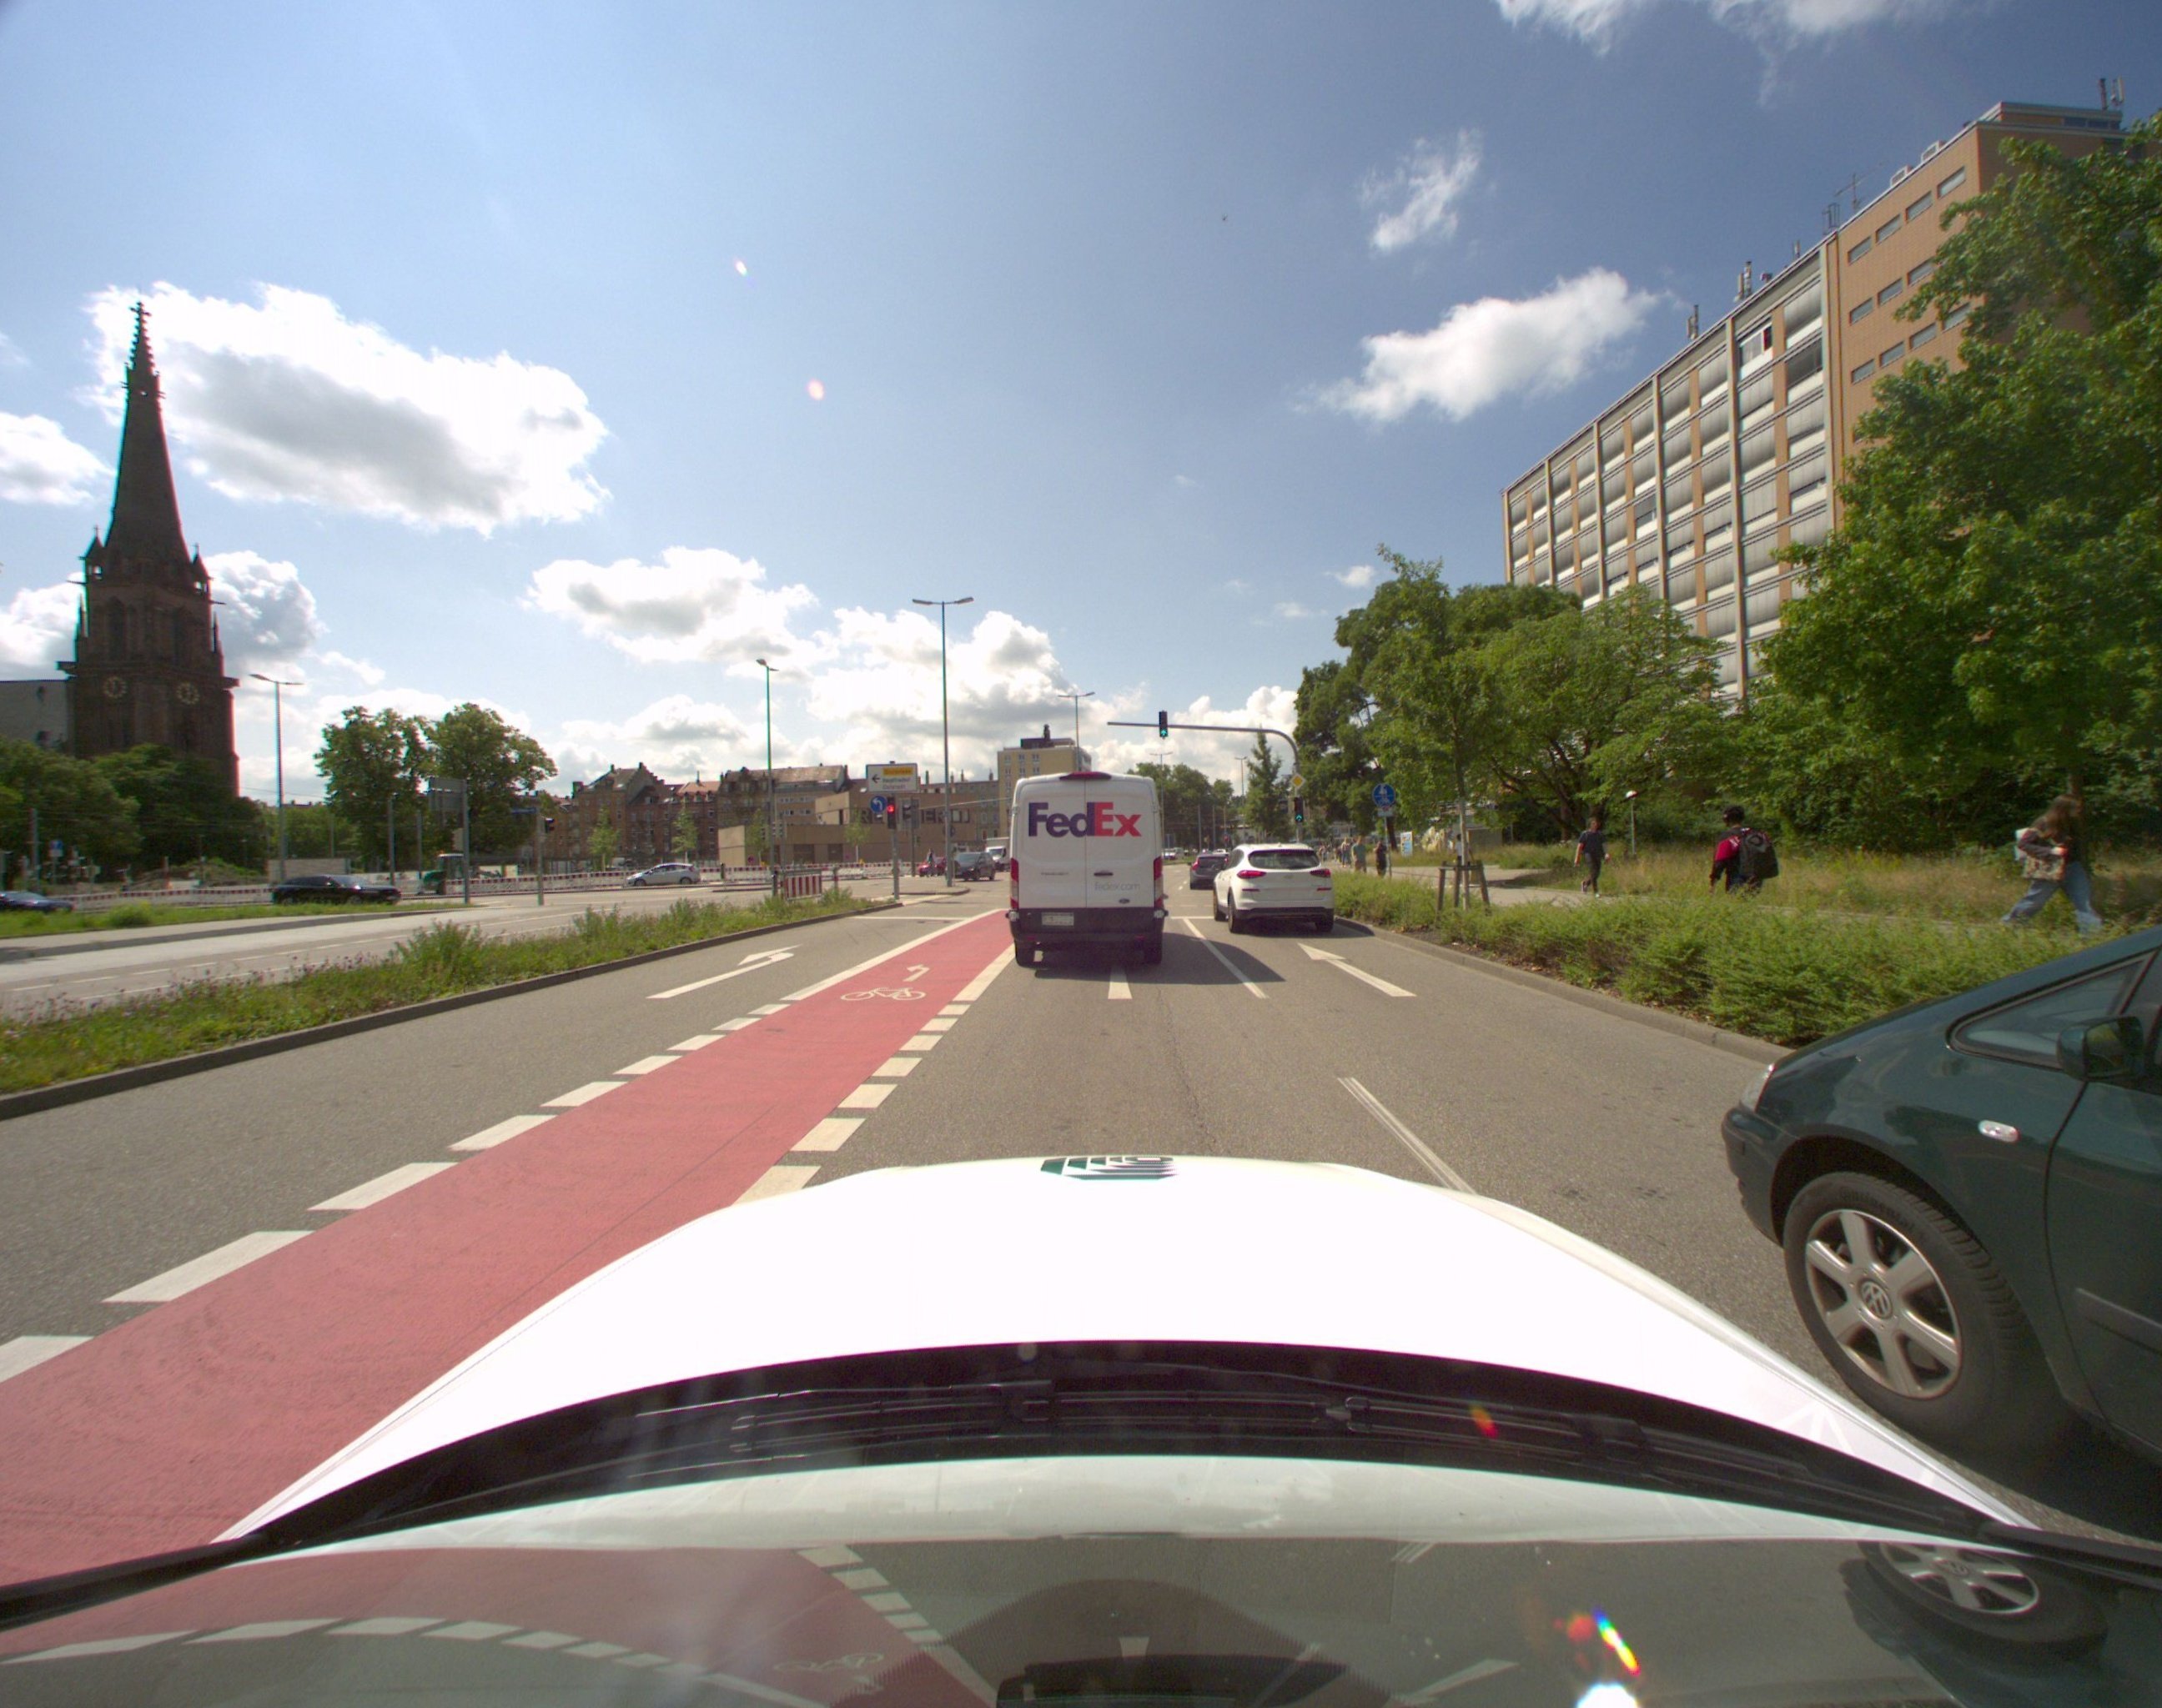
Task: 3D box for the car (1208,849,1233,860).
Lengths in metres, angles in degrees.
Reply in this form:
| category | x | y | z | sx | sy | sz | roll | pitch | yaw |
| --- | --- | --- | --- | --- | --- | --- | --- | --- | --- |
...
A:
| category | x | y | z | sx | sy | sz | roll | pitch | yaw |
| --- | --- | --- | --- | --- | --- | --- | --- | --- | --- |
| car | 24.292 | 0.124 | 141.608 | 4.045 | 1.925 | 1.816 | -1 | -1 | 13 |

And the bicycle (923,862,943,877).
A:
| category | x | y | z | sx | sy | sz | roll | pitch | yaw |
| --- | --- | --- | --- | --- | --- | --- | --- | --- | --- |
| bicycle | -9.838 | 1.007 | 54.243 | 0.772 | 0.889 | 2.111 | -2 | 0 | 4 |

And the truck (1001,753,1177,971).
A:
| category | x | y | z | sx | sy | sz | roll | pitch | yaw |
| --- | --- | --- | --- | --- | --- | --- | --- | --- | --- |
| truck | 0.148 | 0.100 | 12.924 | 2.129 | 2.640 | 5.918 | -1 | 0 | 1 |

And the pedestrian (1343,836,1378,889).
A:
| category | x | y | z | sx | sy | sz | roll | pitch | yaw |
| --- | --- | --- | --- | --- | --- | --- | --- | --- | --- |
| pedestrian | 9.640 | 0.291 | 28.085 | 0.748 | 1.777 | 0.880 | -3 | 0 | -5 |

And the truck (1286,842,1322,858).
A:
| category | x | y | z | sx | sy | sz | roll | pitch | yaw |
| --- | --- | --- | --- | --- | --- | --- | --- | --- | --- |
| truck | 44.283 | -0.795 | 161.601 | 2.858 | 2.852 | 8.846 | -2 | 0 | 43 |

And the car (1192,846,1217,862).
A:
| category | x | y | z | sx | sy | sz | roll | pitch | yaw |
| --- | --- | --- | --- | --- | --- | --- | --- | --- | --- |
| car | 12.429 | -0.034 | 82.064 | 1.866 | 1.506 | 4.174 | -1 | 0 | 17 |

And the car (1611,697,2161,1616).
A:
| category | x | y | z | sx | sy | sz | roll | pitch | yaw |
| --- | --- | --- | --- | --- | --- | --- | --- | --- | --- |
| car | 2.906 | 0.572 | 0.944 | 1.788 | 1.723 | 4.449 | 0 | 0 | 1 |

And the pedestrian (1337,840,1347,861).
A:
| category | x | y | z | sx | sy | sz | roll | pitch | yaw |
| --- | --- | --- | --- | --- | --- | --- | --- | --- | --- |
| pedestrian | 22.624 | -0.312 | 70.637 | 0.751 | 1.821 | 0.676 | -1 | -1 | 10 |

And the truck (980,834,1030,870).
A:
| category | x | y | z | sx | sy | sz | roll | pitch | yaw |
| --- | --- | --- | --- | --- | --- | --- | --- | --- | --- |
| truck | -6.754 | -0.113 | 73.533 | 1.978 | 3.067 | 7.360 | -1 | -1 | 16 |

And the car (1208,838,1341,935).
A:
| category | x | y | z | sx | sy | sz | roll | pitch | yaw |
| --- | --- | --- | --- | --- | --- | --- | --- | --- | --- |
| car | 3.690 | 0.549 | 16.303 | 1.873 | 1.641 | 4.237 | -2 | 0 | 4 |

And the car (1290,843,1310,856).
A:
| category | x | y | z | sx | sy | sz | roll | pitch | yaw |
| --- | --- | --- | --- | --- | --- | --- | --- | --- | --- |
| car | 30.142 | -0.678 | 111.927 | 1.864 | 1.641 | 3.980 | -2 | 0 | 26 |

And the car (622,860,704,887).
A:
| category | x | y | z | sx | sy | sz | roll | pitch | yaw |
| --- | --- | --- | --- | --- | --- | --- | --- | --- | --- |
| car | -25.157 | 1.161 | 49.127 | 4.010 | 1.508 | 1.990 | 0 | -1 | -14 |

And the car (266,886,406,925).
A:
| category | x | y | z | sx | sy | sz | roll | pitch | yaw |
| --- | --- | --- | --- | --- | --- | --- | --- | --- | --- |
| car | -34.144 | 2.341 | 37.409 | 4.481 | 1.486 | 2.000 | -2 | 0 | 0 |

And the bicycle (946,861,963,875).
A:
| category | x | y | z | sx | sy | sz | roll | pitch | yaw |
| --- | --- | --- | --- | --- | --- | --- | --- | --- | --- |
| bicycle | -9.047 | 1.009 | 58.276 | 0.563 | 0.889 | 1.749 | -2 | 0 | 12 |

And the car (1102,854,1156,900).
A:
| category | x | y | z | sx | sy | sz | roll | pitch | yaw |
| --- | --- | --- | --- | --- | --- | --- | --- | --- | --- |
| car | 1.729 | 0.754 | 28.667 | 1.733 | 1.391 | 4.185 | -2 | 0 | 4 |

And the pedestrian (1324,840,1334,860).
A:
| category | x | y | z | sx | sy | sz | roll | pitch | yaw |
| --- | --- | --- | --- | --- | --- | --- | --- | --- | --- |
| pedestrian | 23.211 | -0.369 | 76.287 | 0.751 | 1.821 | 0.640 | -1 | -1 | 9 |

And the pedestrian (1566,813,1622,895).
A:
| category | x | y | z | sx | sy | sz | roll | pitch | yaw |
| --- | --- | --- | --- | --- | --- | --- | --- | --- | --- |
| pedestrian | 11.354 | 0.000 | 18.038 | 0.747 | 1.750 | 0.667 | -3 | 0 | 0 |

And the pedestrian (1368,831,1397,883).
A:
| category | x | y | z | sx | sy | sz | roll | pitch | yaw |
| --- | --- | --- | --- | --- | --- | --- | --- | --- | --- |
| pedestrian | 10.431 | 0.111 | 28.162 | 0.665 | 1.746 | 0.608 | -3 | 0 | -5 |

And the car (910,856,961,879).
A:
| category | x | y | z | sx | sy | sz | roll | pitch | yaw |
| --- | --- | --- | --- | --- | --- | --- | --- | --- | --- |
| car | -10.743 | 0.963 | 60.406 | 1.977 | 1.486 | 3.925 | -2 | 0 | 20 |

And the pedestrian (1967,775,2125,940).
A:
| category | x | y | z | sx | sy | sz | roll | pitch | yaw |
| --- | --- | --- | --- | --- | --- | --- | --- | --- | --- |
| pedestrian | 10.893 | 0.035 | 9.228 | 0.664 | 1.750 | 0.878 | -3 | 0 | 1 |

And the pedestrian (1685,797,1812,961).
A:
| category | x | y | z | sx | sy | sz | roll | pitch | yaw |
| --- | --- | --- | --- | --- | --- | --- | --- | --- | --- |
| pedestrian | 7.551 | 0.268 | 9.258 | 0.664 | 1.750 | 0.848 | -3 | 0 | 1 |

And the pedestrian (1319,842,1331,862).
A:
| category | x | y | z | sx | sy | sz | roll | pitch | yaw |
| --- | --- | --- | --- | --- | --- | --- | --- | --- | --- |
| pedestrian | 22.214 | -0.178 | 74.251 | 0.753 | 1.821 | 0.781 | -5 | -1 | 3 |

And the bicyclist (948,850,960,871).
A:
| category | x | y | z | sx | sy | sz | roll | pitch | yaw |
| --- | --- | --- | --- | --- | --- | --- | --- | --- | --- |
| bicyclist | -9.078 | 0.448 | 58.228 | 0.561 | 1.461 | 0.840 | -2 | 0 | 12 |

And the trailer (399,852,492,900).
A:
| category | x | y | z | sx | sy | sz | roll | pitch | yaw |
| --- | --- | --- | --- | --- | --- | --- | --- | --- | --- |
| trailer | -40.905 | 1.363 | 52.499 | 1.974 | 2.914 | 4.394 | -1 | -1 | 37 |

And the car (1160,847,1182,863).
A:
| category | x | y | z | sx | sy | sz | roll | pitch | yaw |
| --- | --- | --- | --- | --- | --- | --- | --- | --- | --- |
| car | 11.640 | 0.114 | 105.020 | 1.977 | 2.014 | 4.142 | -1 | -1 | 19 |

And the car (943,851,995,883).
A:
| category | x | y | z | sx | sy | sz | roll | pitch | yaw |
| --- | --- | --- | --- | --- | --- | --- | --- | --- | --- |
| car | -6.180 | 0.686 | 45.277 | 1.871 | 1.623 | 4.162 | -1 | 0 | 6 |

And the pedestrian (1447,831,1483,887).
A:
| category | x | y | z | sx | sy | sz | roll | pitch | yaw |
| --- | --- | --- | --- | --- | --- | --- | --- | --- | --- |
| pedestrian | 11.384 | 0.151 | 24.148 | 0.664 | 1.596 | 0.648 | -3 | 0 | 0 |

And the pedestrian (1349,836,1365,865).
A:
| category | x | y | z | sx | sy | sz | roll | pitch | yaw |
| --- | --- | --- | --- | --- | --- | --- | --- | --- | --- |
| pedestrian | 16.733 | -0.210 | 49.329 | 0.745 | 1.752 | 0.611 | -3 | 0 | 7 |

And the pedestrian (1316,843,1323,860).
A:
| category | x | y | z | sx | sy | sz | roll | pitch | yaw |
| --- | --- | --- | --- | --- | --- | --- | --- | --- | --- |
| pedestrian | 22.406 | -0.209 | 76.505 | 0.584 | 1.626 | 0.729 | -1 | -1 | 9 |

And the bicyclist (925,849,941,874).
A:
| category | x | y | z | sx | sy | sz | roll | pitch | yaw |
| --- | --- | --- | --- | --- | --- | --- | --- | --- | --- |
| bicyclist | -9.861 | 0.514 | 54.186 | 0.772 | 1.618 | 0.844 | -2 | 0 | 4 |

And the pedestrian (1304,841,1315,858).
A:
| category | x | y | z | sx | sy | sz | roll | pitch | yaw |
| --- | --- | --- | --- | --- | --- | --- | --- | --- | --- |
| pedestrian | 21.258 | -0.422 | 75.793 | 0.752 | 1.589 | 0.762 | -1 | -1 | 3 |

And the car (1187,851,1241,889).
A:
| category | x | y | z | sx | sy | sz | roll | pitch | yaw |
| --- | --- | --- | --- | --- | --- | --- | --- | --- | --- |
| car | 5.551 | 0.645 | 34.436 | 1.906 | 1.420 | 3.923 | -2 | 0 | 4 |

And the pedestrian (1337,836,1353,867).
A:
| category | x | y | z | sx | sy | sz | roll | pitch | yaw |
| --- | --- | --- | --- | --- | --- | --- | --- | --- | --- |
| pedestrian | 15.910 | -0.170 | 49.044 | 0.745 | 1.802 | 0.611 | -3 | 0 | 7 |

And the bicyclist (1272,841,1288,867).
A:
| category | x | y | z | sx | sy | sz | roll | pitch | yaw |
| --- | --- | --- | --- | --- | --- | --- | --- | --- | --- |
| bicyclist | 12.656 | -0.020 | 51.907 | 0.823 | 1.601 | 0.581 | -4 | -2 | 8 |

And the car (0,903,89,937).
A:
| category | x | y | z | sx | sy | sz | roll | pitch | yaw |
| --- | --- | --- | --- | --- | --- | --- | --- | --- | --- |
| car | -53.687 | 3.377 | 41.044 | 4.644 | 1.486 | 1.997 | -2 | 0 | -4 |
